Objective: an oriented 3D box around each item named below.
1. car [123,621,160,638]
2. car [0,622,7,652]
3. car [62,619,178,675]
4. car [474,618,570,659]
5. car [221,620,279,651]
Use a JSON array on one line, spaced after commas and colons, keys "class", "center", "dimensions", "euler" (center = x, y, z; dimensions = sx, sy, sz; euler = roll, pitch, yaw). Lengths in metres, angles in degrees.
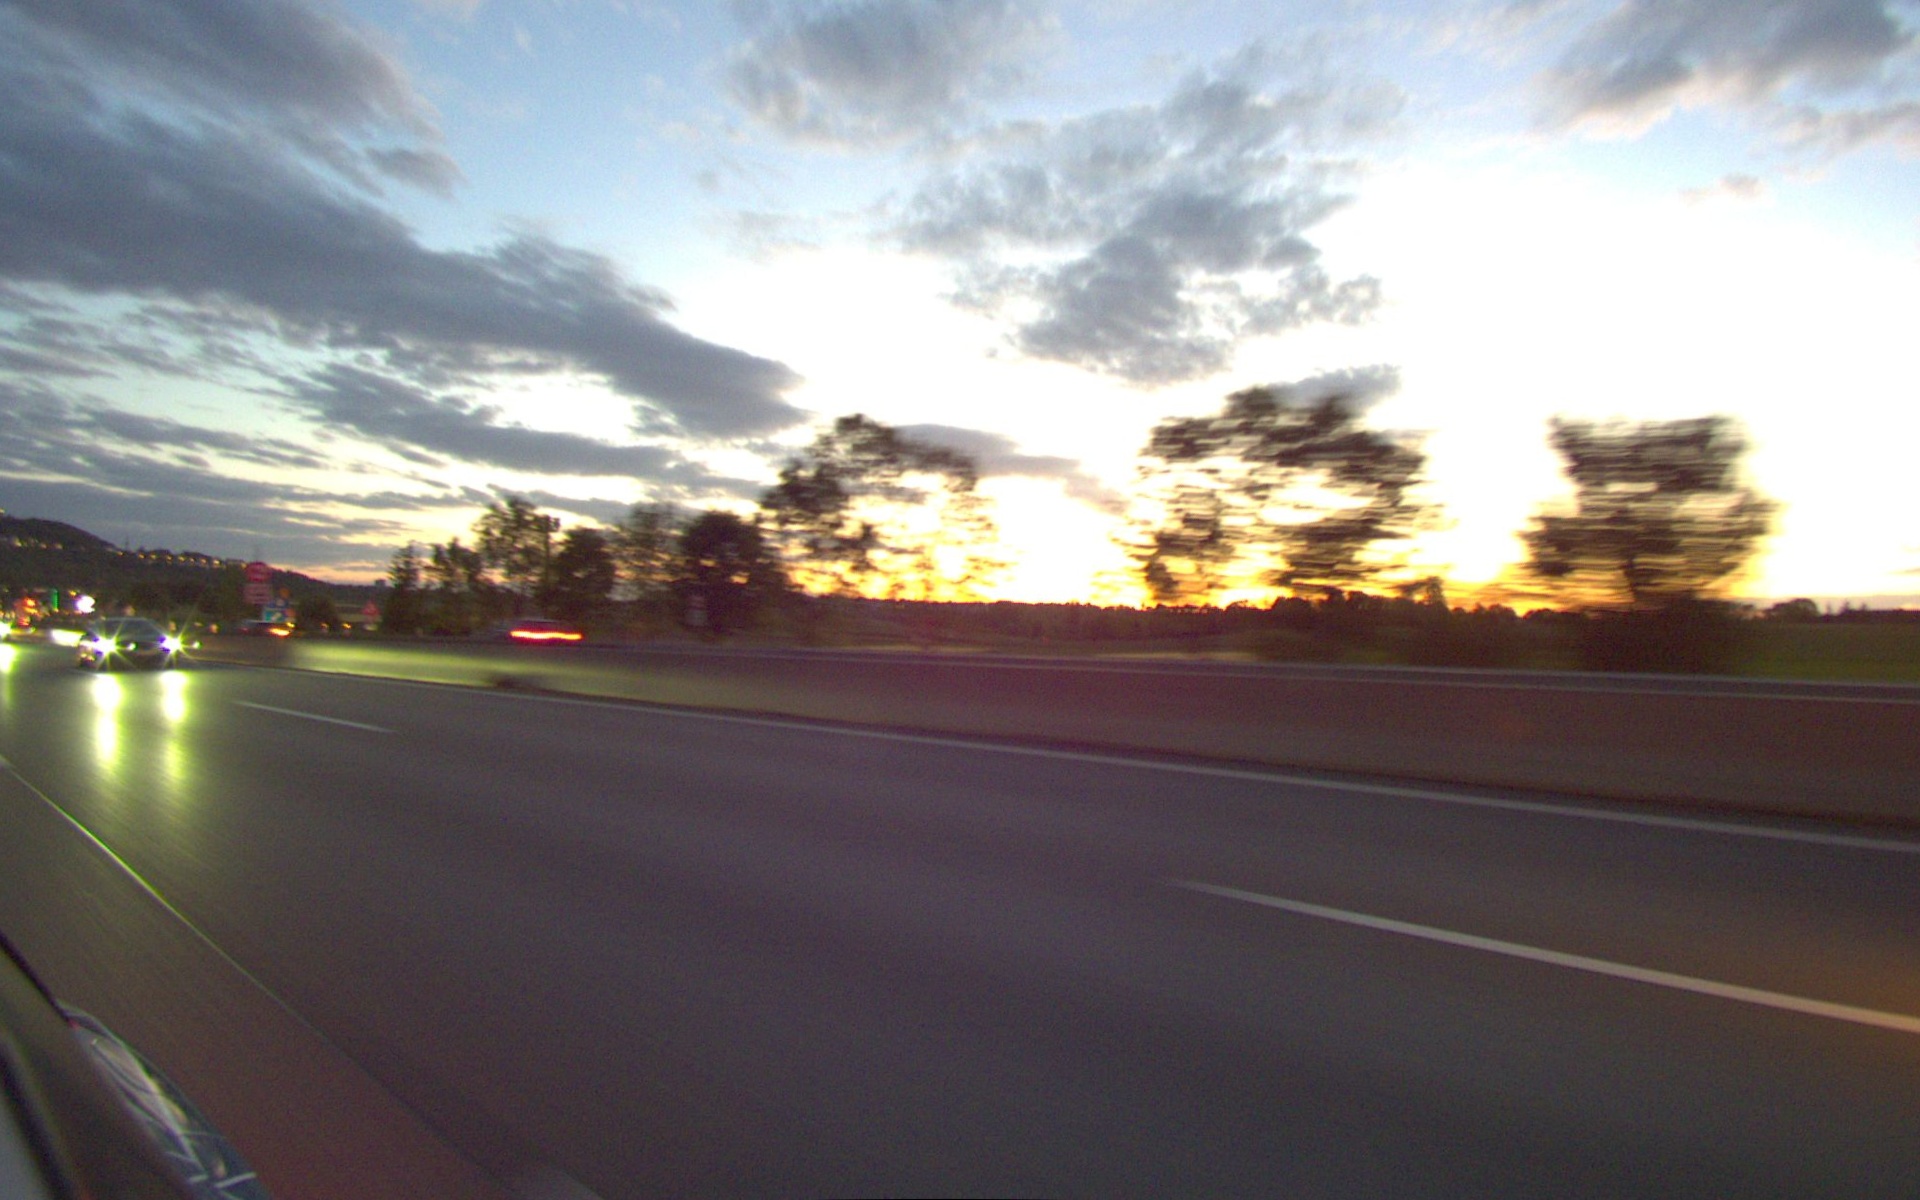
[{"class": "car", "center": [-69.287, 2.480, 85.666], "dimensions": [4.109, 1.372, 1.726], "euler": [0, 0, 41]}, {"class": "car", "center": [-56.764, 2.146, 58.644], "dimensions": [4.854, 1.660, 1.795], "euler": [0, 0, 41]}, {"class": "car", "center": [-25.076, 1.327, 30.136], "dimensions": [5.391, 1.448, 1.795], "euler": [0, 0, 41]}, {"class": "car", "center": [-17.326, 1.477, 39.936], "dimensions": [4.272, 1.465, 1.841], "euler": [0, 0, 41]}, {"class": "car", "center": [-38.944, 1.921, 55.479], "dimensions": [3.998, 1.558, 1.714], "euler": [0, 0, 41]}]
